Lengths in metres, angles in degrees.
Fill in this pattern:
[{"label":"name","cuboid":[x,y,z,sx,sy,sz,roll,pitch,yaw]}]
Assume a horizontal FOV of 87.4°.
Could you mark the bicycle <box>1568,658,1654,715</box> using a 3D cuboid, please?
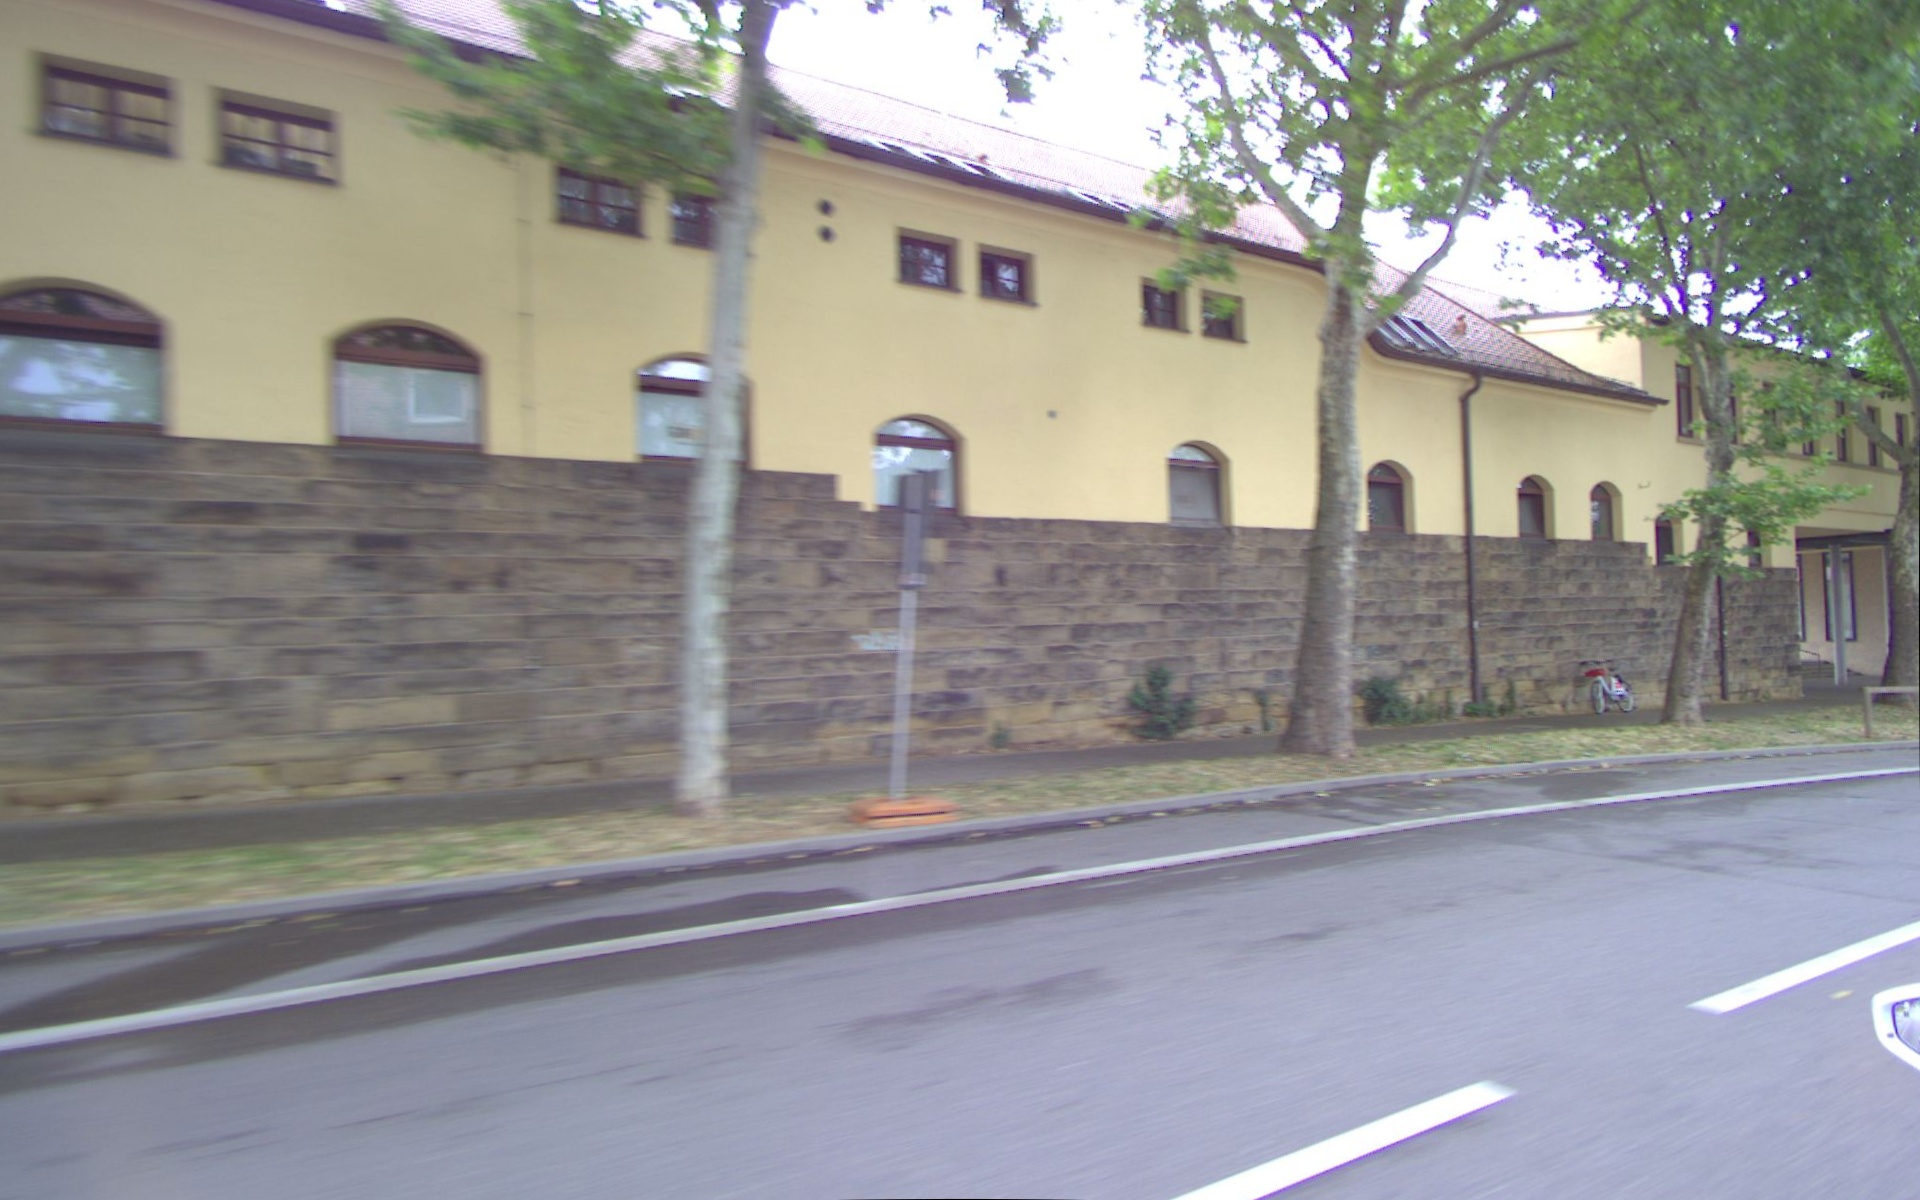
[{"label":"bicycle","cuboid":[13.777,1.813,21.252,2.168,1.106,0.593,1,0,-30]}]
